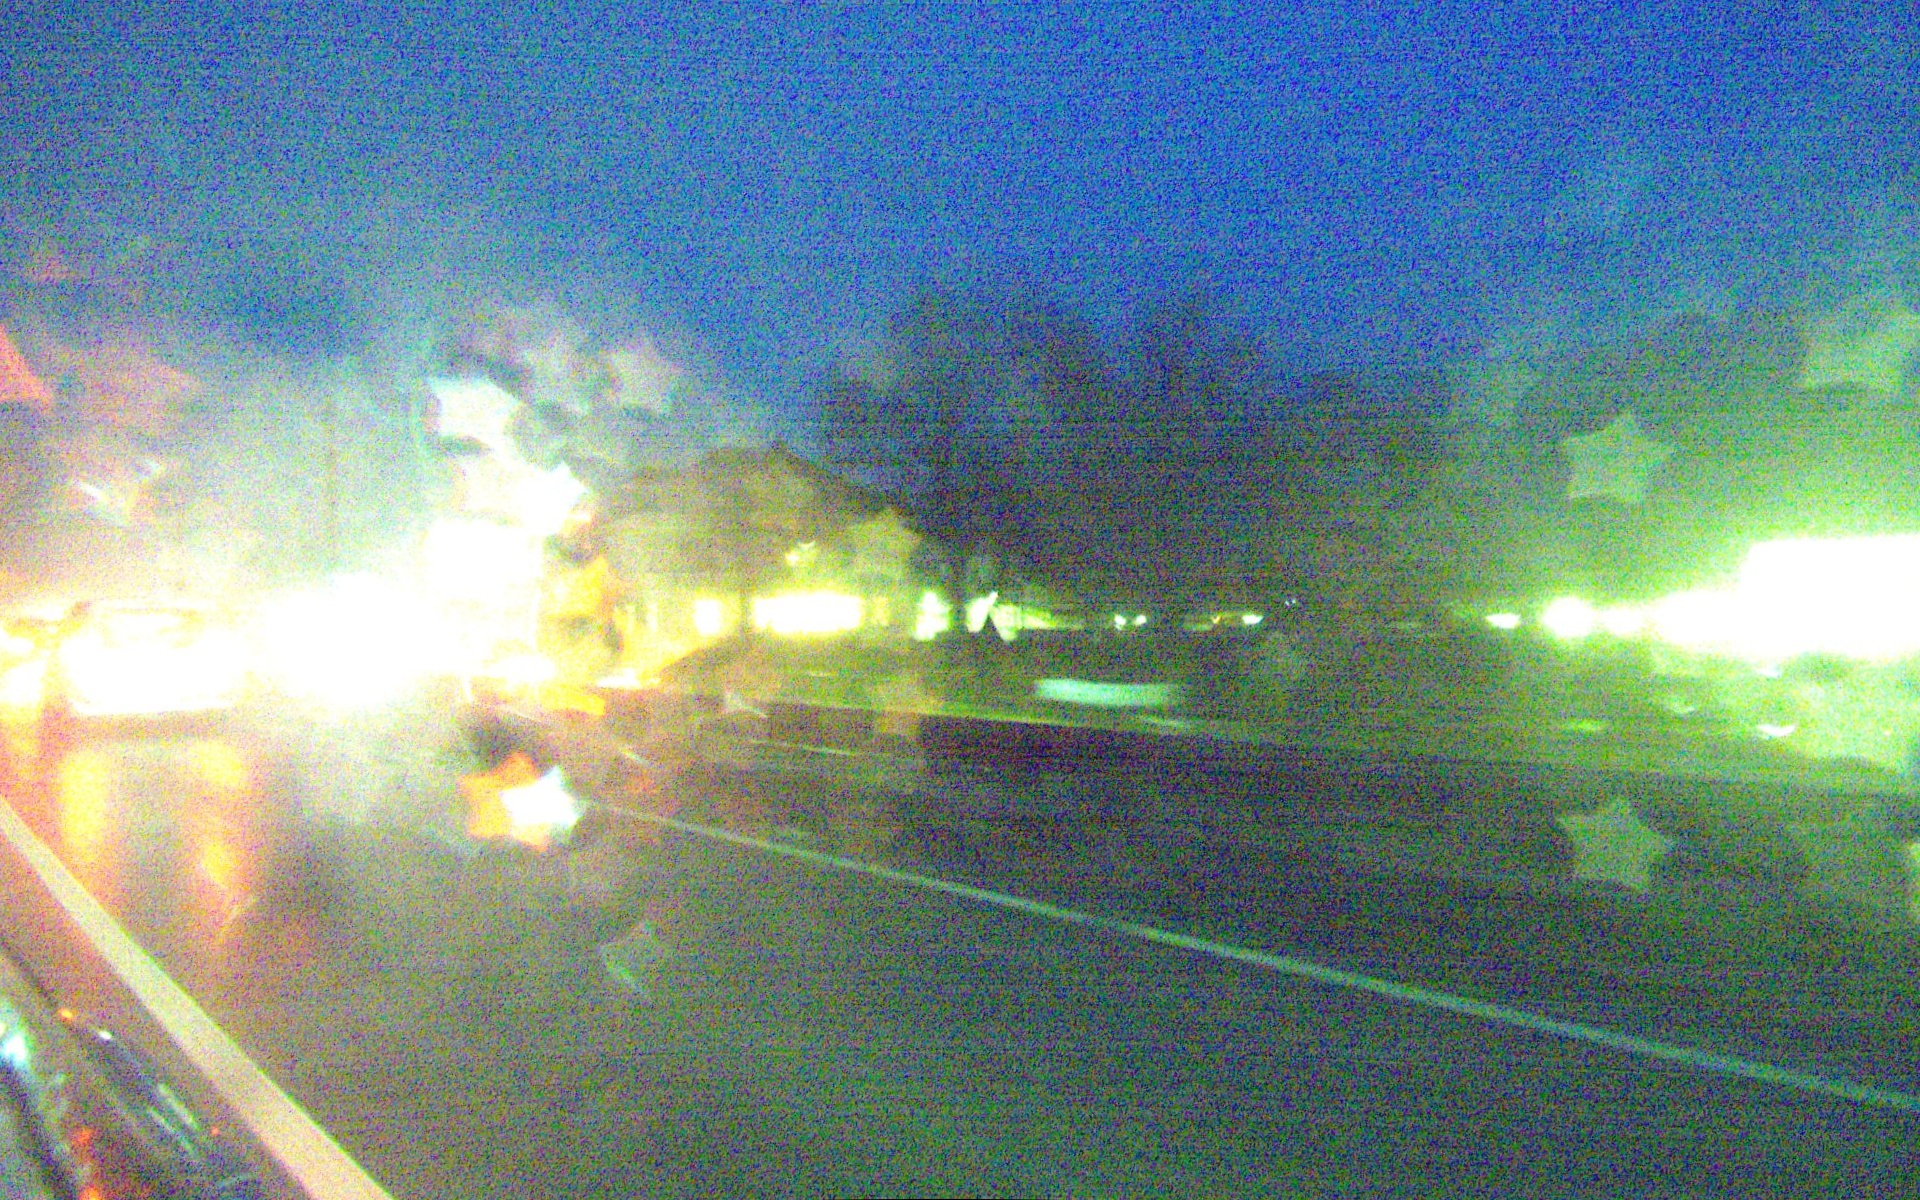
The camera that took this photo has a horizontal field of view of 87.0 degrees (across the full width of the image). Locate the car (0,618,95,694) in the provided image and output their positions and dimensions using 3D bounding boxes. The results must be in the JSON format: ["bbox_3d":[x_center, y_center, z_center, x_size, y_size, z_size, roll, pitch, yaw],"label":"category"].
[{"bbox_3d":[-20.959,1.188,22.710,4.534,1.532,1.779,-1,-2,42],"label":"car"}]

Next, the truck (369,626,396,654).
[{"bbox_3d":[-73.854,5.052,129.357,2.718,3.509,8.128,0,-1,-32],"label":"truck"}]

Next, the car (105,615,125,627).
[{"bbox_3d":[-108.493,2.666,129.937,1.762,1.490,3.688,0,-1,-37],"label":"car"}]

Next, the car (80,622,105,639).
[{"bbox_3d":[-93.991,3.280,109.675,1.784,1.688,4.302,0,-1,-37],"label":"car"}]

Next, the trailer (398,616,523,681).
[{"bbox_3d":[-40.478,3.800,82.681,3.299,4.832,11.528,0,0,7],"label":"trailer"}]

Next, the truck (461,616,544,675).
[{"bbox_3d":[-39.704,3.834,88.164,3.299,4.832,7.301,0,0,8],"label":"truck"}]

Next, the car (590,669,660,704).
[{"bbox_3d":[-18.102,4.636,54.644,4.294,1.582,1.788,-1,-1,44],"label":"car"}]

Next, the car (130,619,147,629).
[{"bbox_3d":[-127.405,3.757,157.025,1.614,1.531,3.781,2,-2,-33],"label":"car"}]

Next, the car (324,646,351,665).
[{"bbox_3d":[-61.787,5.470,100.384,1.785,1.688,4.301,0,-1,-38],"label":"car"}]

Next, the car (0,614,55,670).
[{"bbox_3d":[-30.198,1.294,32.303,3.468,1.693,1.669,-1,-1,43],"label":"car"}]

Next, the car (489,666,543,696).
[{"bbox_3d":[-29.218,5.286,66.504,4.294,1.688,1.788,-1,-1,44],"label":"car"}]

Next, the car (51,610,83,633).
[{"bbox_3d":[-75.470,1.798,85.570,1.969,1.819,4.602,0,-1,-41],"label":"car"}]

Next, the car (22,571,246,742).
[{"bbox_3d":[-11.915,0.713,14.513,4.000,2.090,1.972,-1,-1,43],"label":"car"}]
